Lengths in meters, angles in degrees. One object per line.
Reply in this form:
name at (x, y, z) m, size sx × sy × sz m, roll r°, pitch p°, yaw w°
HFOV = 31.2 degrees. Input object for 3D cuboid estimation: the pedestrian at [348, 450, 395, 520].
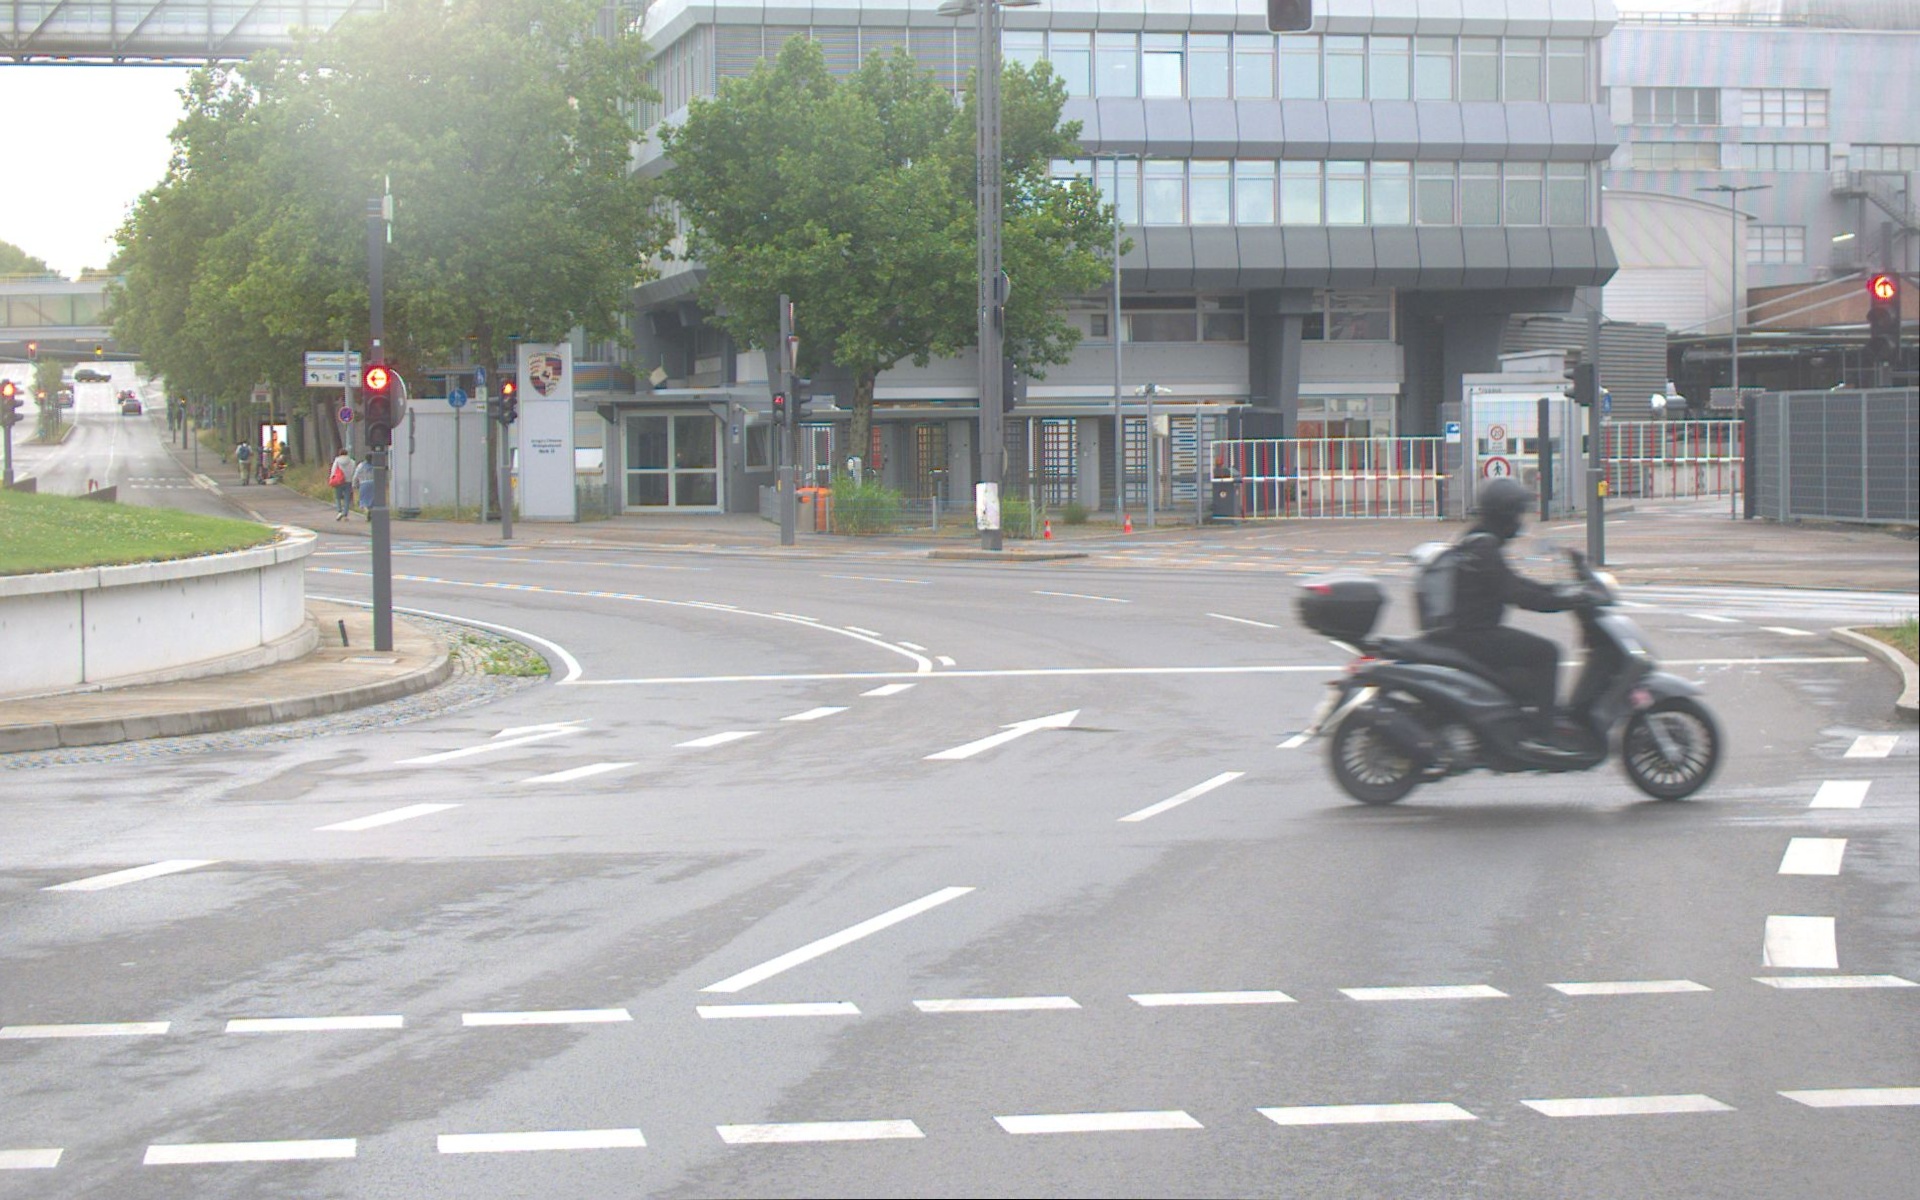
pedestrian at (-13.024, -2.545, 76.081) m, size 0.831 × 1.515 × 0.842 m, roll -2°, pitch 3°, yaw -24°

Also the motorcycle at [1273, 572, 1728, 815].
motorcycle at (2.759, 0.468, 17.598) m, size 2.259 × 1.188 × 0.451 m, roll -1°, pitch 2°, yaw -6°

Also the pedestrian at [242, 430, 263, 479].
pedestrian at (-25.307, -5.207, 122.968) m, size 0.711 × 1.734 × 0.760 m, roll 1°, pitch 0°, yaw -14°

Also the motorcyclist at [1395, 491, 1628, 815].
motorcyclist at (2.809, 0.253, 17.559) m, size 1.031 × 1.617 × 0.671 m, roll -1°, pitch 2°, yaw -6°

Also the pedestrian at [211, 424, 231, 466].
pedestrian at (-35.670, -7.478, 165.938) m, size 0.765 × 2.006 × 0.692 m, roll 0°, pitch 2°, yaw 3°

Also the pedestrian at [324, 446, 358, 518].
pedestrian at (-13.887, -2.657, 77.130) m, size 0.709 × 1.586 × 0.841 m, roll -1°, pitch 3°, yaw -9°

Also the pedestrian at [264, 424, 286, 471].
pedestrian at (-25.959, -5.781, 130.287) m, size 0.757 × 1.734 × 0.714 m, roll 1°, pitch 0°, yaw -10°
